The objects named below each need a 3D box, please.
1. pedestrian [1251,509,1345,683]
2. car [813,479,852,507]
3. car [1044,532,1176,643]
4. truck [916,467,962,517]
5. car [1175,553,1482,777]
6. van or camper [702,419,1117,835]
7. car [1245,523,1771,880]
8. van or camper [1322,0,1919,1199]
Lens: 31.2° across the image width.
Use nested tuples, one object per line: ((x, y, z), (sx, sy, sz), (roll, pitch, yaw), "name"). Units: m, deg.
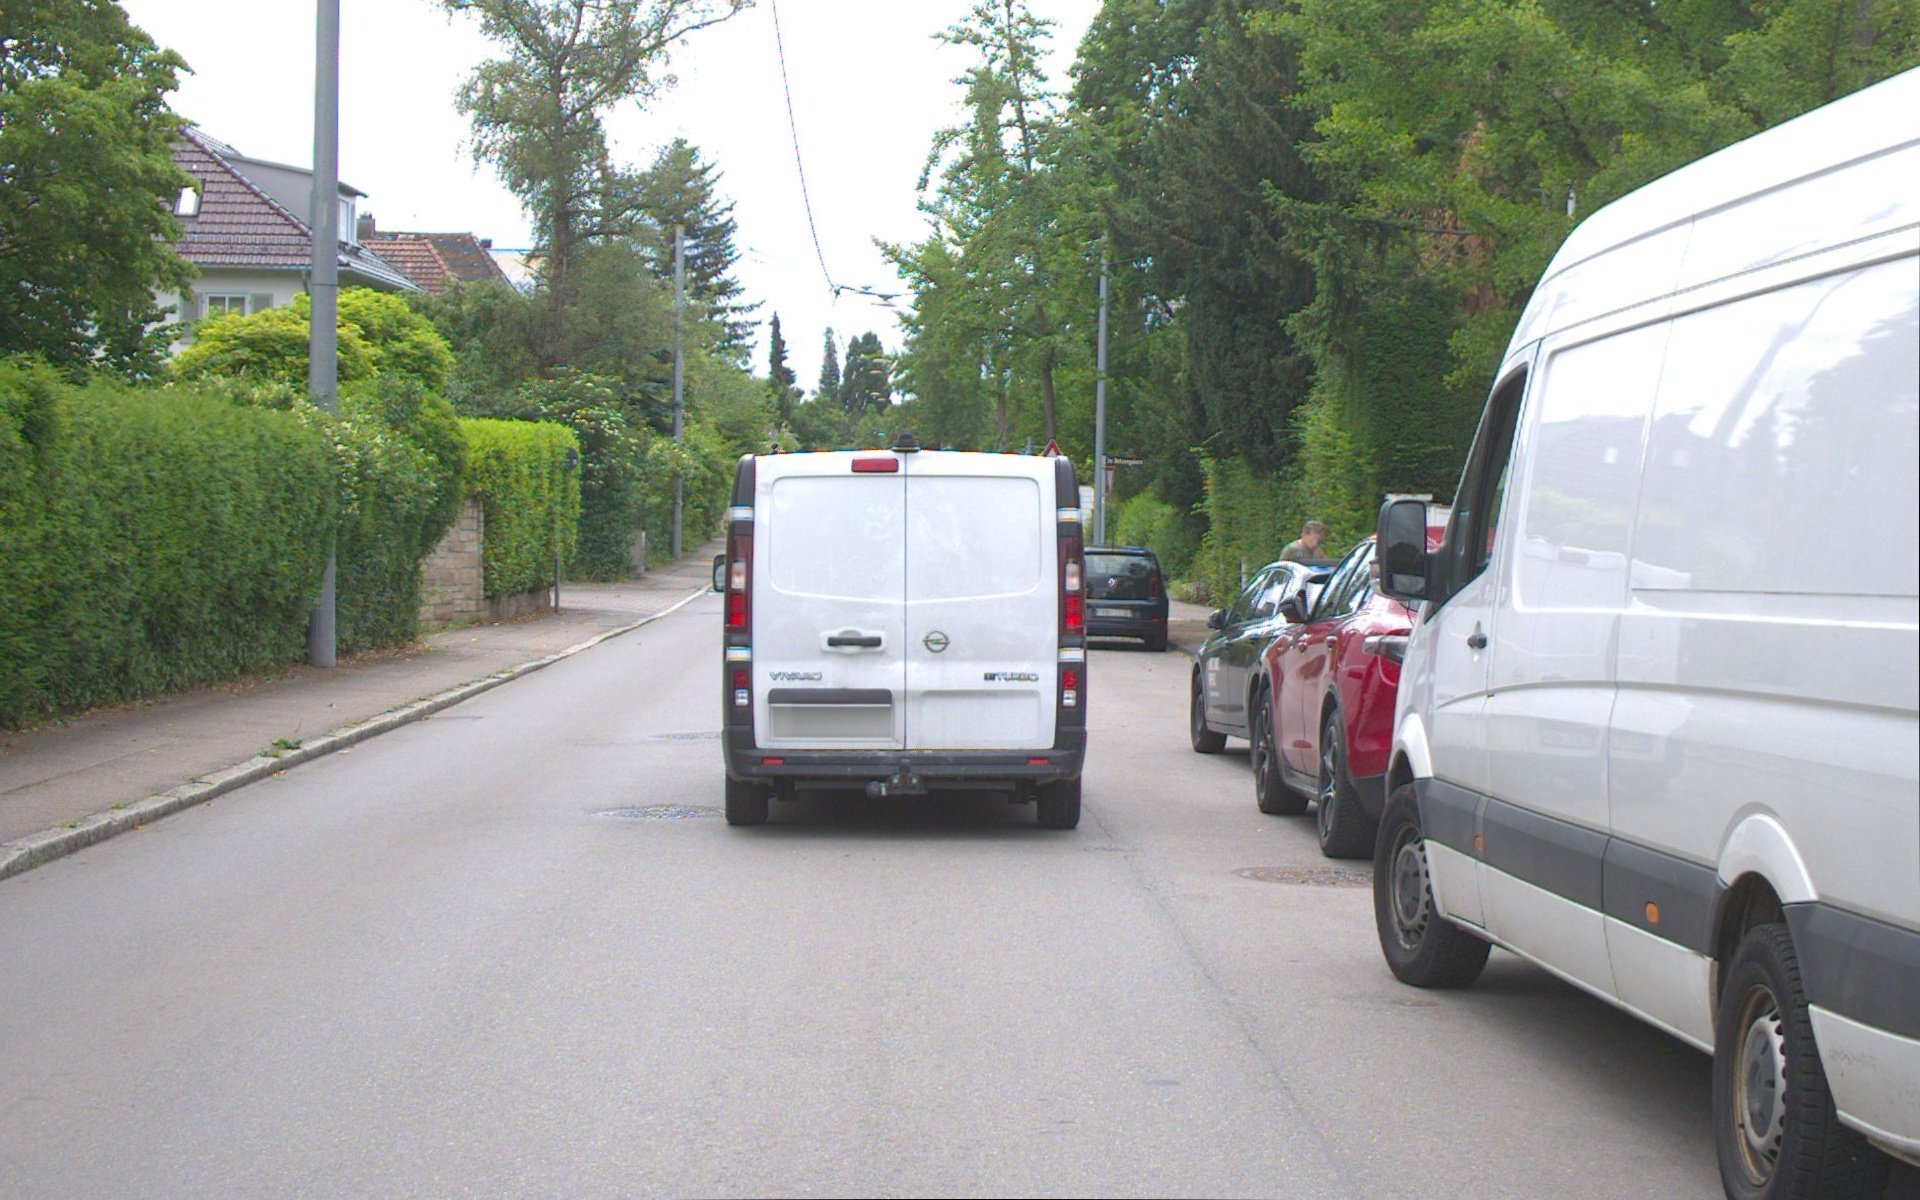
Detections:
((3.334, -0.055, 33.970), (0.669, 1.692, 0.918), (0, 1, -13), "pedestrian")
((-6.878, -5.809, 185.710), (1.805, 1.426, 4.301), (-1, 2, 2), "car")
((2.138, -0.214, 49.747), (1.623, 1.468, 3.741), (2, 2, -1), "car")
((-1.144, -5.692, 179.994), (2.187, 2.463, 7.432), (2, 2, -1), "truck")
((2.502, 0.391, 24.207), (1.679, 1.402, 4.054), (0, 1, -1), "car")
((-0.323, 0.081, 19.081), (1.939, 1.947, 4.766), (2, 1, -2), "van or camper")
((2.634, 0.399, 17.656), (1.888, 1.575, 4.765), (0, 1, -1), "car")
((2.609, 0.099, 9.244), (2.041, 2.611, 7.040), (2, 1, -3), "van or camper")
